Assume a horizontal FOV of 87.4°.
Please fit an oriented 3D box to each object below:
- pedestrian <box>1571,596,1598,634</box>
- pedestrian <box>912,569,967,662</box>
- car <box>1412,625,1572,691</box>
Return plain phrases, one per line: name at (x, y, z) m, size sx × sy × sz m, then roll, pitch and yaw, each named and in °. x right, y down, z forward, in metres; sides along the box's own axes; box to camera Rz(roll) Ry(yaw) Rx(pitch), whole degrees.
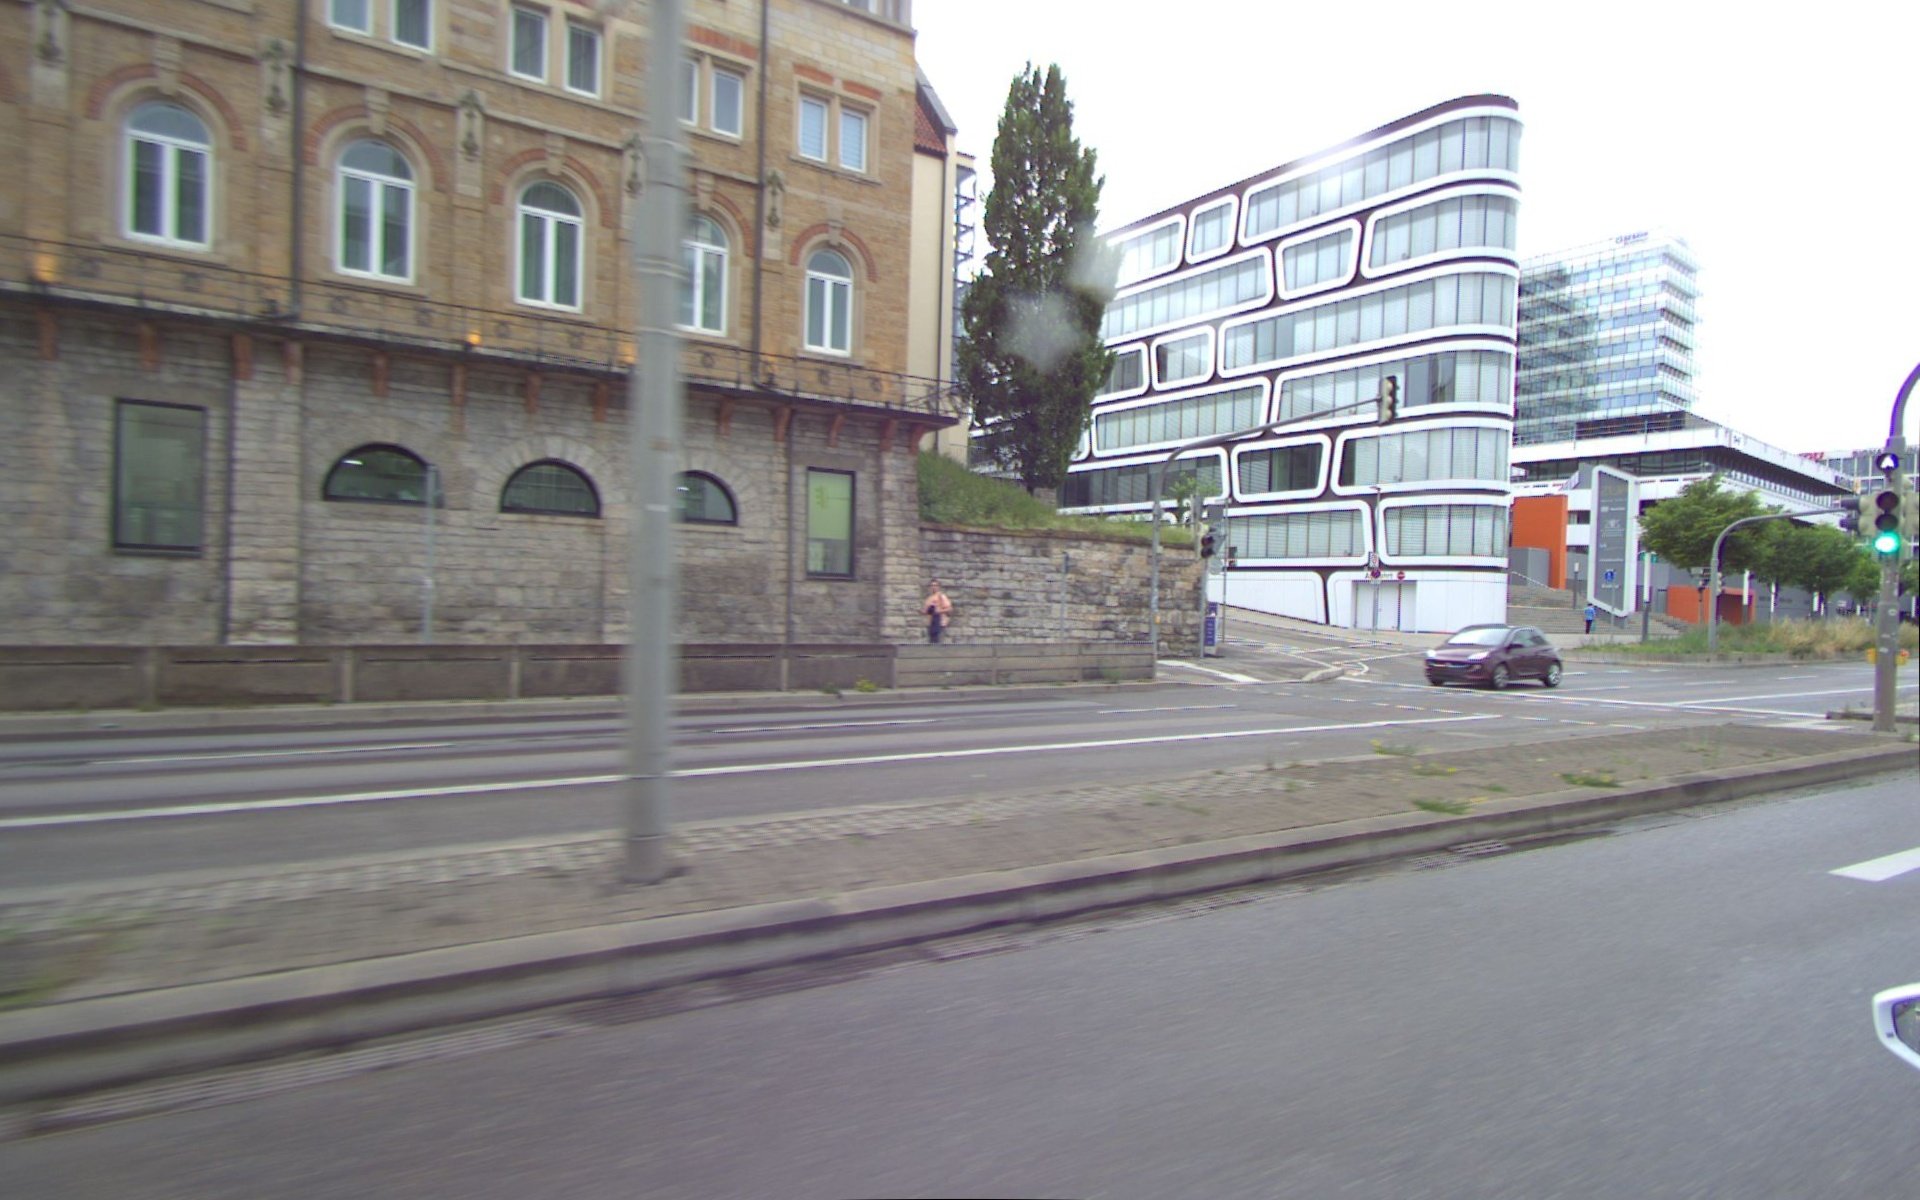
pedestrian at (33.469, 0.805, 53.827) m, size 0.707 × 2.040 × 1.024 m, roll -1°, pitch 0°, yaw -31°
pedestrian at (-0.418, 0.320, 20.976) m, size 1.040 × 1.892 × 0.883 m, roll -1°, pitch 0°, yaw 4°
car at (12.606, 1.316, 23.780) m, size 3.682 × 1.426 × 1.739 m, roll 0°, pitch -1°, yaw -31°
